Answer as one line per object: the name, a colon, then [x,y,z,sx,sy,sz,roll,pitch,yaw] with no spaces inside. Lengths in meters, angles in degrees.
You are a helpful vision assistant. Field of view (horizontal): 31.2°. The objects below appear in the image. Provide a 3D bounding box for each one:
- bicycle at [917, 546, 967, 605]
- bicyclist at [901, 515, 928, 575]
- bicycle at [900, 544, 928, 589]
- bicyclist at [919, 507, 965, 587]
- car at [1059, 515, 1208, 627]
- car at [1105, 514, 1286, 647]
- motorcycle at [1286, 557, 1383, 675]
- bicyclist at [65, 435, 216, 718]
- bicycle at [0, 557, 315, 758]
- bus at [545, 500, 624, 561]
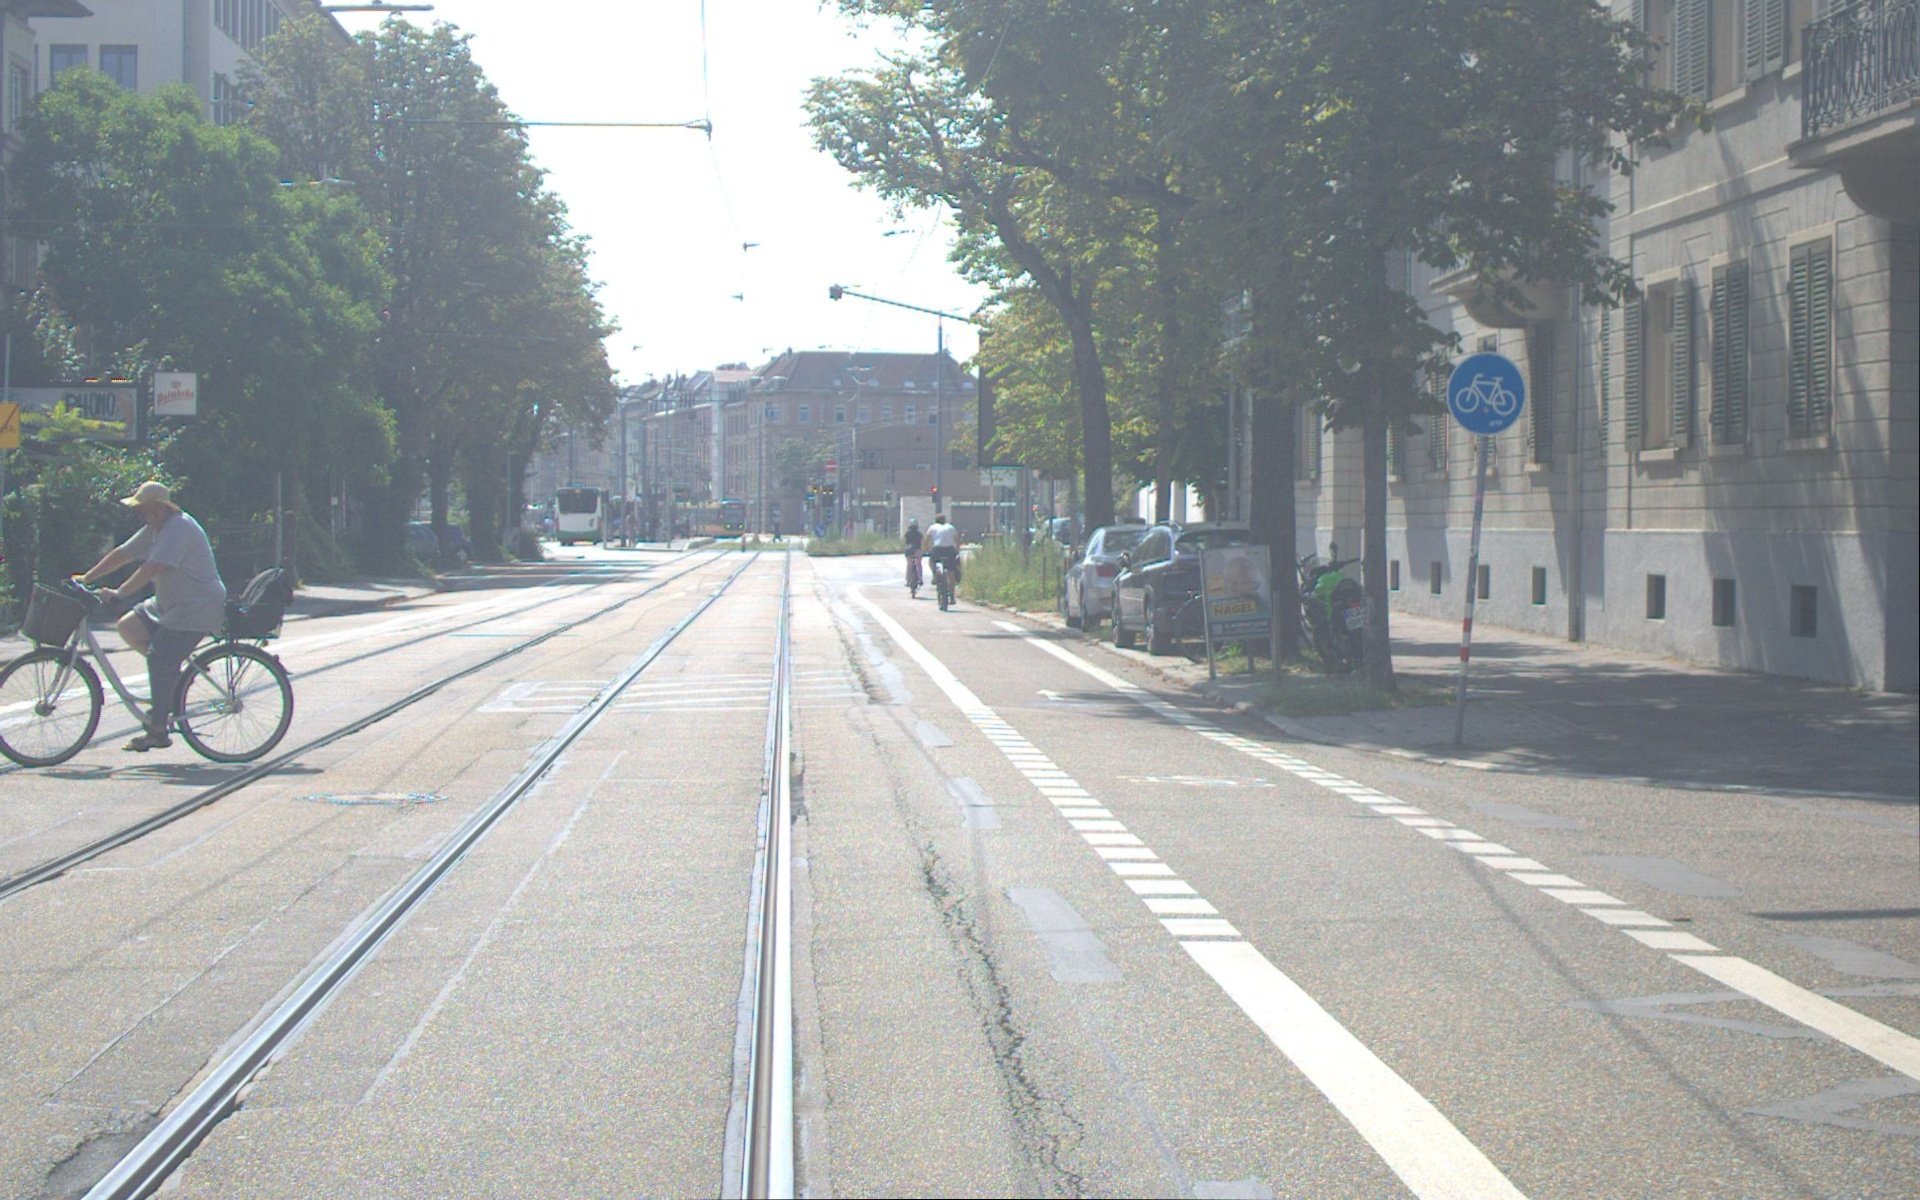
bicycle: [-0.323,-0.428,59.792,0.758,0.987,2.298,0,1,-3]
bicyclist: [-0.972,-1.188,73.782,0.579,1.274,0.471,0,1,0]
bicycle: [-0.979,-0.717,73.769,0.588,0.936,2.172,0,1,0]
bicyclist: [-0.308,-0.921,59.648,0.758,1.387,0.779,0,1,-3]
car: [2.341,-0.397,47.137,1.583,1.459,3.468,0,0,-5]
car: [2.676,-0.227,39.744,1.583,1.459,3.416,0,0,-5]
motorcycle: [3.543,0.133,32.651,0.549,1.064,2.331,0,1,-3]
bicyclist: [-4.842,-0.145,20.358,0.823,1.637,0.786,0,1,-11]
bicycle: [-4.863,0.334,20.360,2.034,1.147,0.786,0,1,-11]
bus: [-21.476,-3.974,197.449,3.734,3.352,15.122,0,1,-3]
